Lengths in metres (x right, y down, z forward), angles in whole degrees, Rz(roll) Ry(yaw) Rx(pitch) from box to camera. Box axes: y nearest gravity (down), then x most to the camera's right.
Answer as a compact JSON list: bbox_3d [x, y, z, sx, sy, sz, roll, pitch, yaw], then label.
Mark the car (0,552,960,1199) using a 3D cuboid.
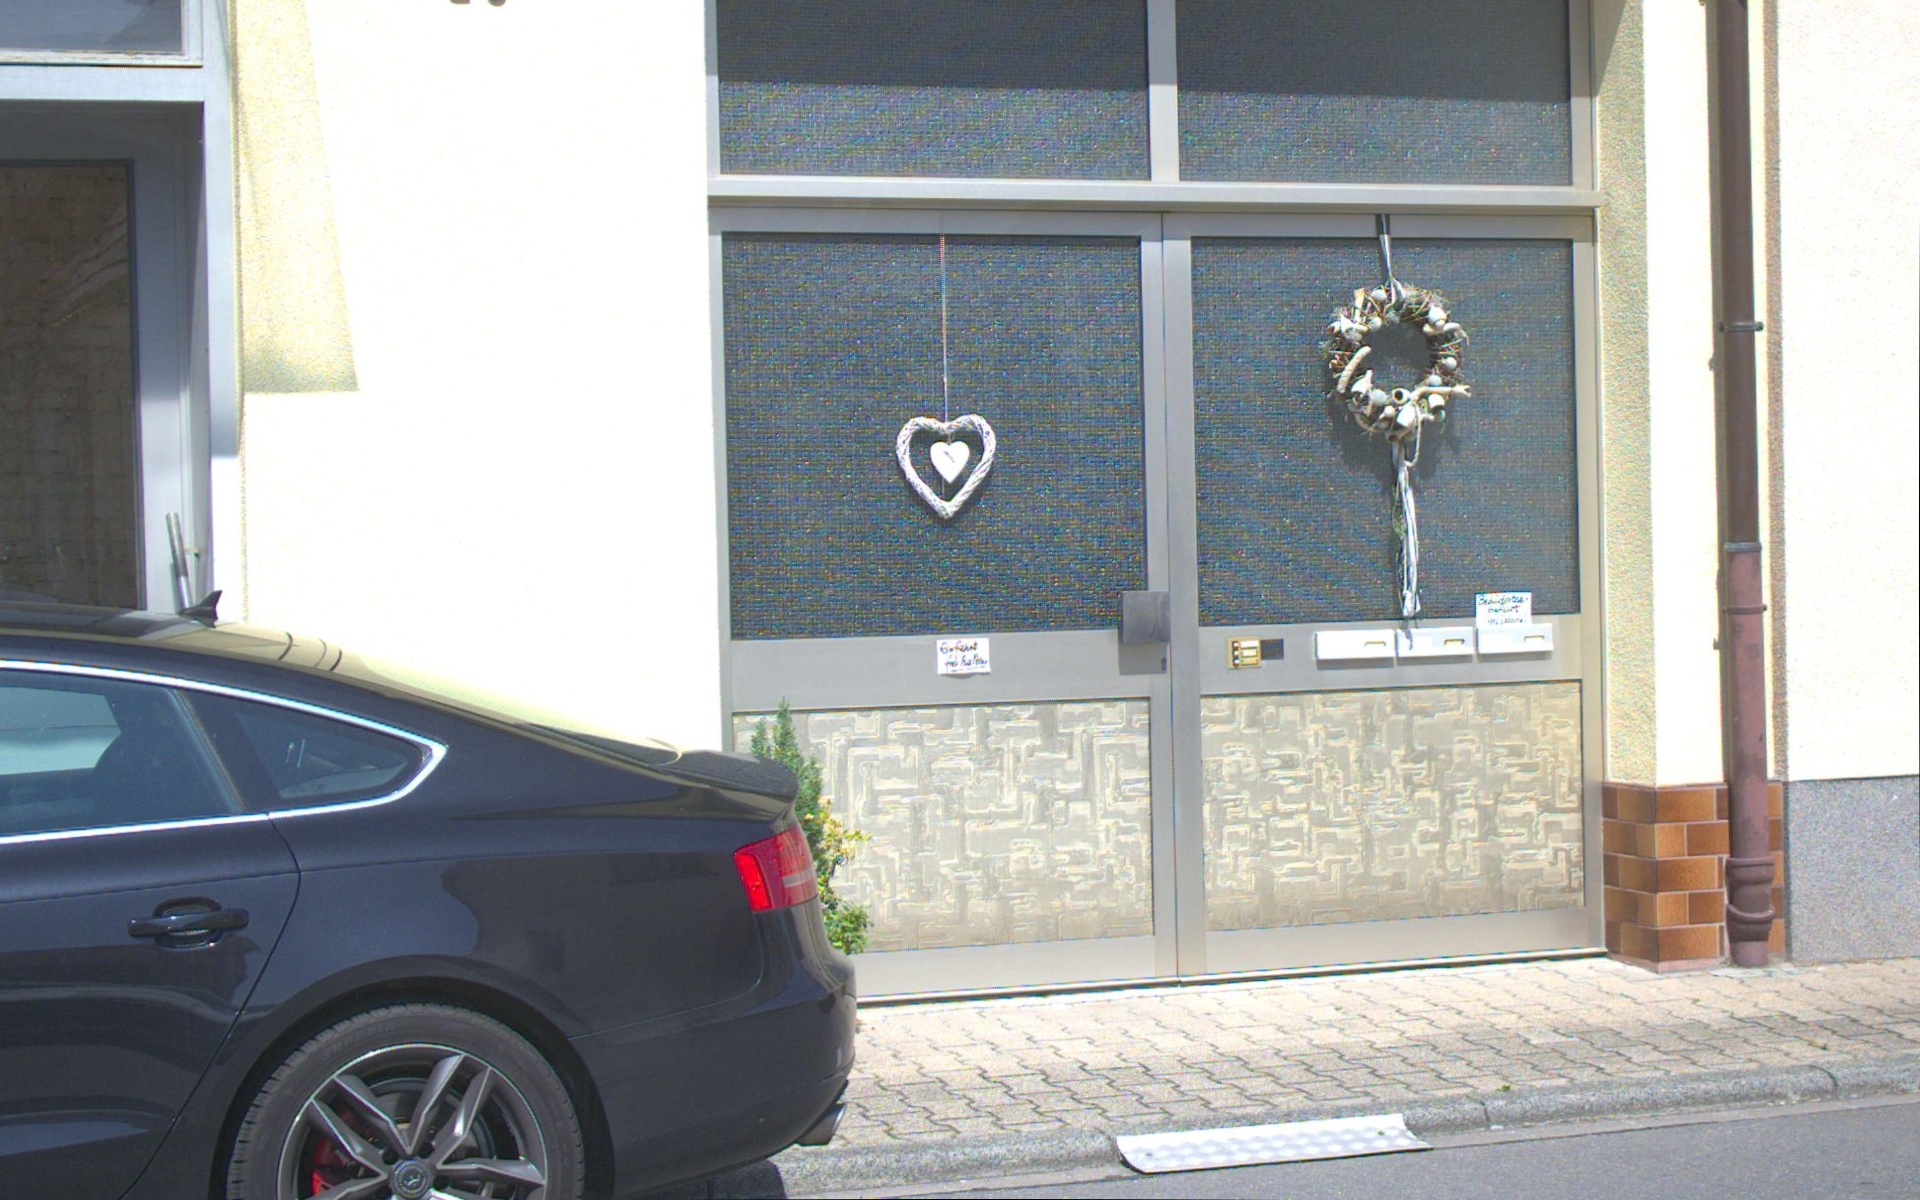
[{"bbox_3d":[-2.512,0.689,6.563,4.615,1.389,1.928,-1,-2,-20],"label":"car"}]
